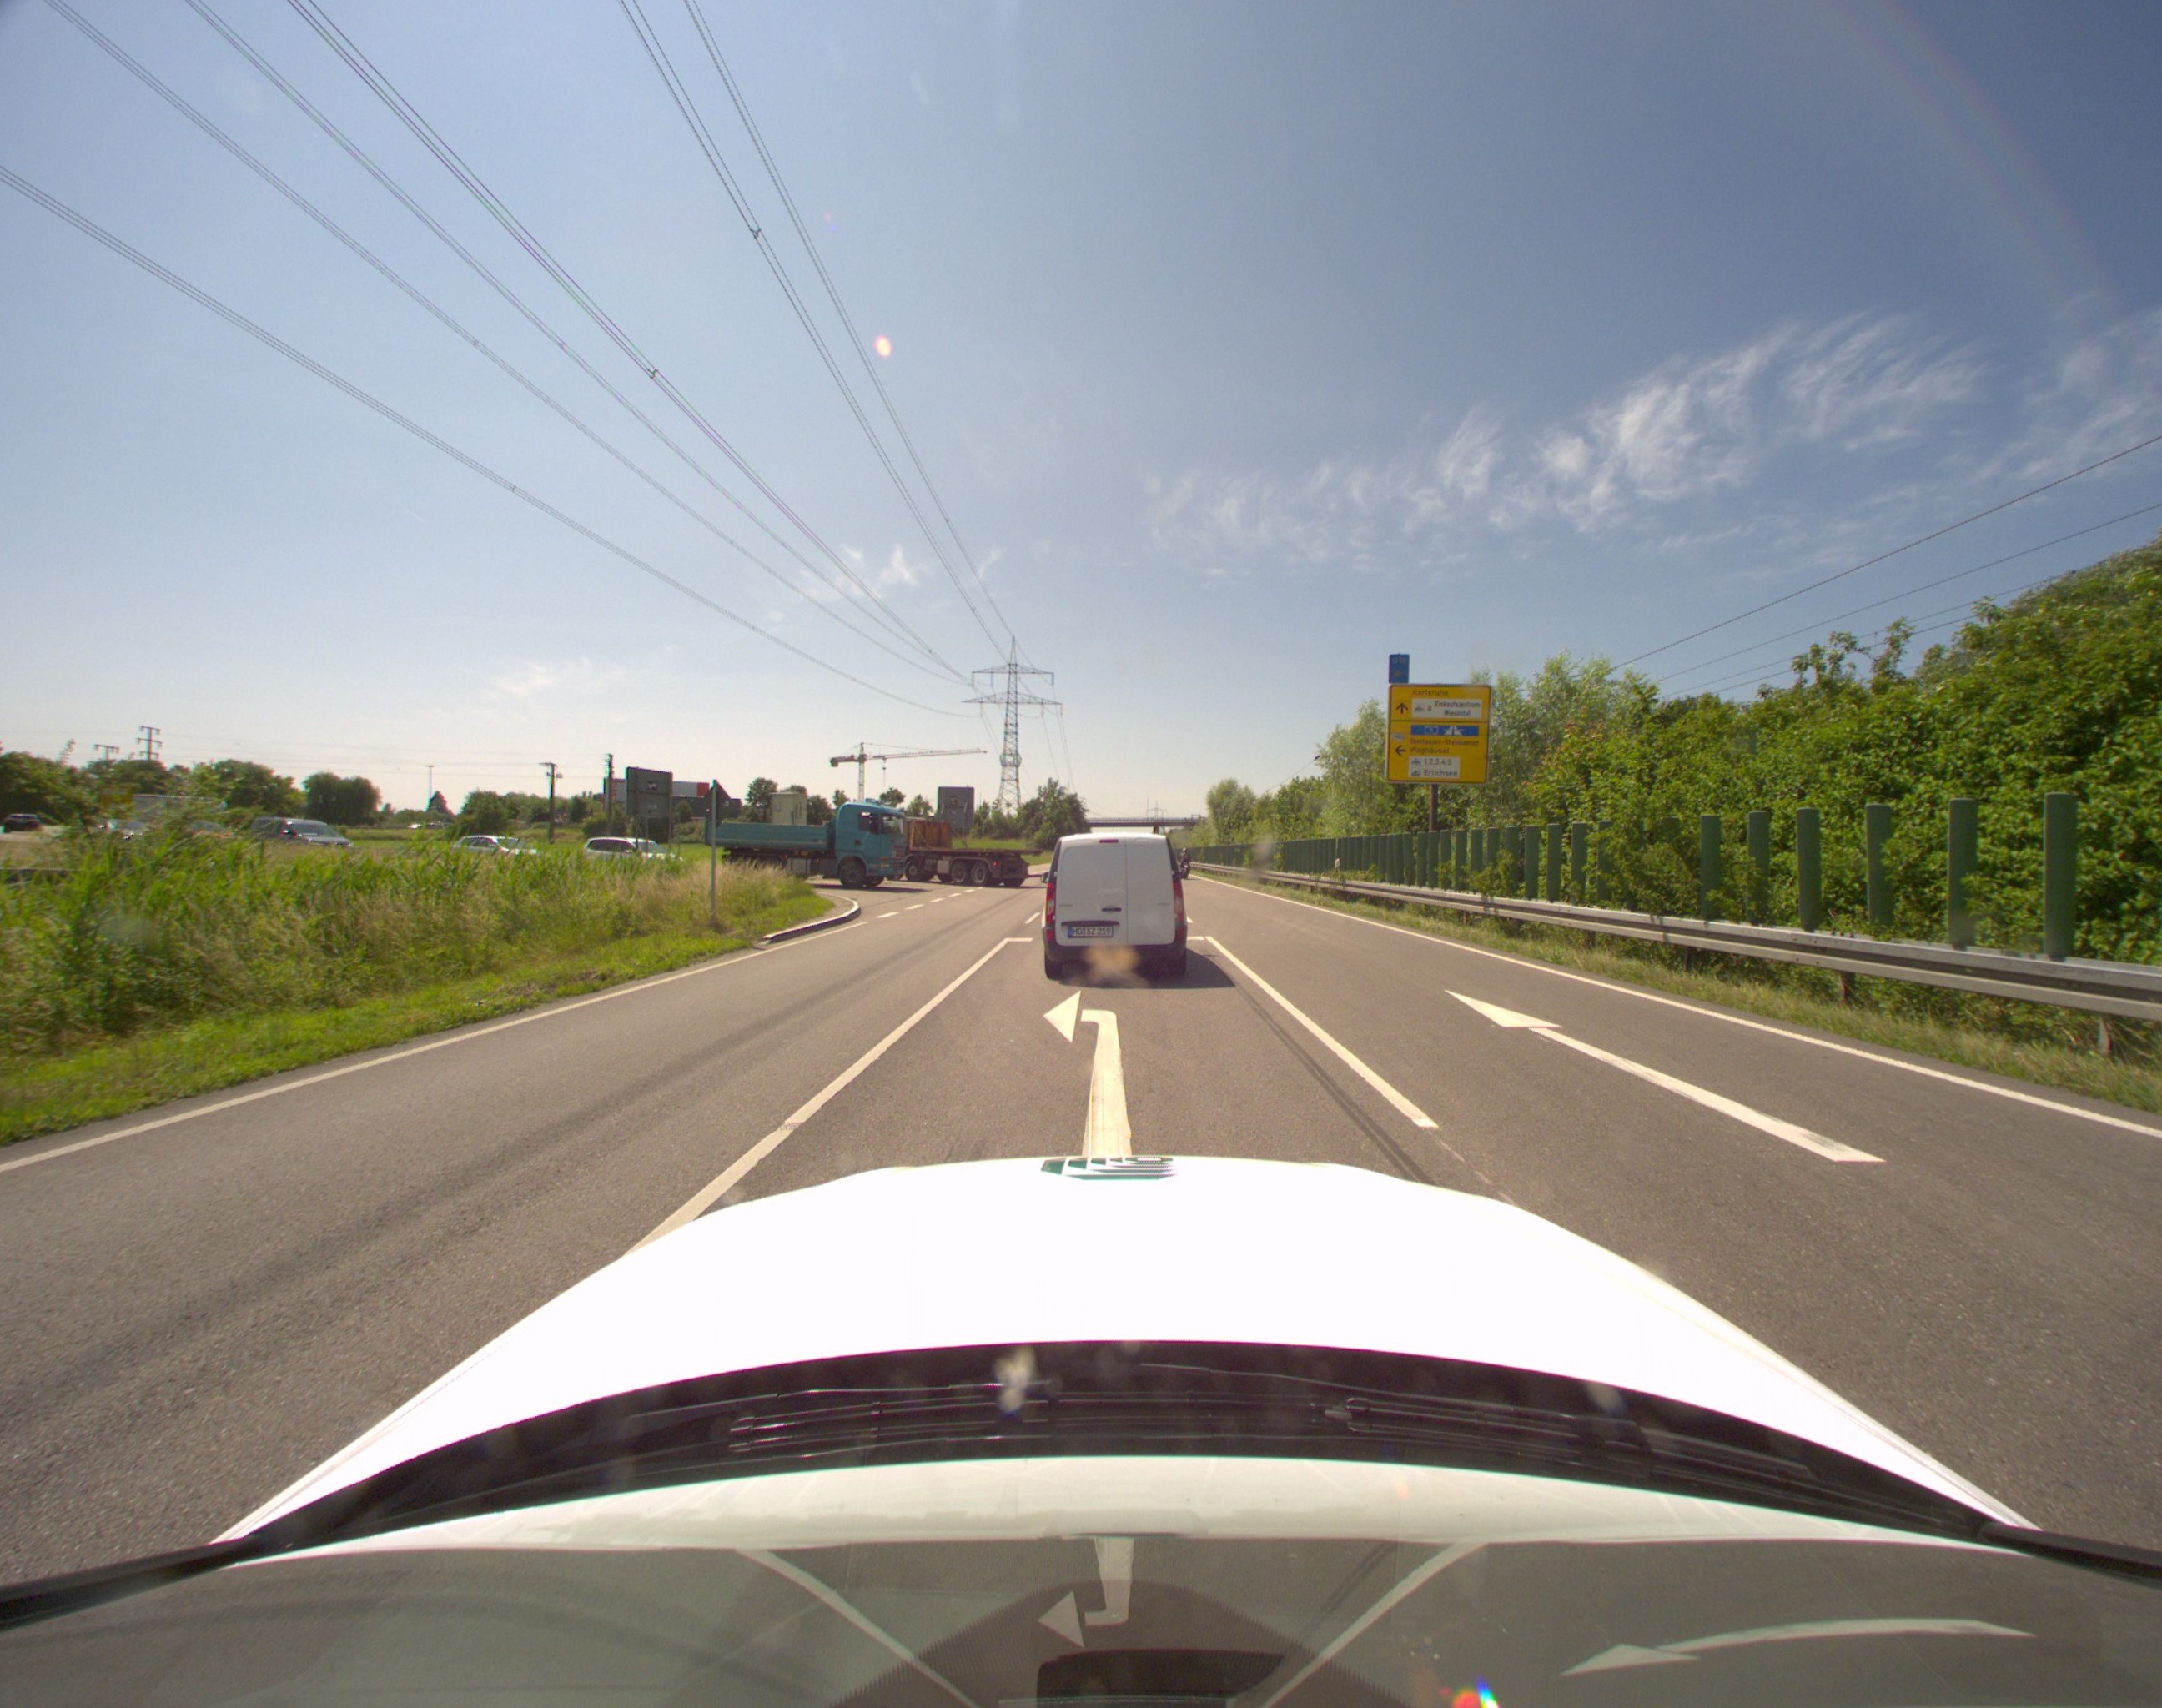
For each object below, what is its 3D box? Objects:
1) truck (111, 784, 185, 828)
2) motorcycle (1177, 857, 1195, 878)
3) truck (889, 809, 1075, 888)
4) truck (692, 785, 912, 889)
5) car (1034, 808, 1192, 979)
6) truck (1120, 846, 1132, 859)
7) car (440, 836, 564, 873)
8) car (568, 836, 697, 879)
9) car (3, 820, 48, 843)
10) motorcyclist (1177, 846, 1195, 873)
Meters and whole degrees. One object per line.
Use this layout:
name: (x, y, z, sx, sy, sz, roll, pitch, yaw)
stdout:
truck: (-110.535, -5.544, 96.707, 3.709, 4.646, 13.086, 1, 0, -40)
motorcycle: (5.856, 0.730, 45.563, 0.787, 1.157, 1.902, 0, 0, 1)
truck: (-4.830, -0.276, 37.908, 9.577, 3.288, 2.847, 1, 1, 40)
truck: (-11.112, -0.681, 32.795, 7.868, 3.734, 2.501, 2, 0, 4)
car: (0.436, 0.457, 11.456, 1.820, 1.971, 4.002, -1, 0, 2)
truck: (9.867, -0.335, 179.746, 2.365, 2.689, 8.013, 1, 0, 2)
car: (-24.461, 0.015, 34.418, 4.401, 1.470, 1.724, 1, 0, 13)
car: (-18.374, 0.131, 33.372, 4.506, 1.612, 1.976, 1, 0, 16)
car: (-82.873, -1.776, 63.966, 3.949, 1.679, 2.012, 0, 0, 40)
motorcyclist: (5.840, 0.308, 45.505, 0.886, 1.476, 1.002, 0, 0, 1)
